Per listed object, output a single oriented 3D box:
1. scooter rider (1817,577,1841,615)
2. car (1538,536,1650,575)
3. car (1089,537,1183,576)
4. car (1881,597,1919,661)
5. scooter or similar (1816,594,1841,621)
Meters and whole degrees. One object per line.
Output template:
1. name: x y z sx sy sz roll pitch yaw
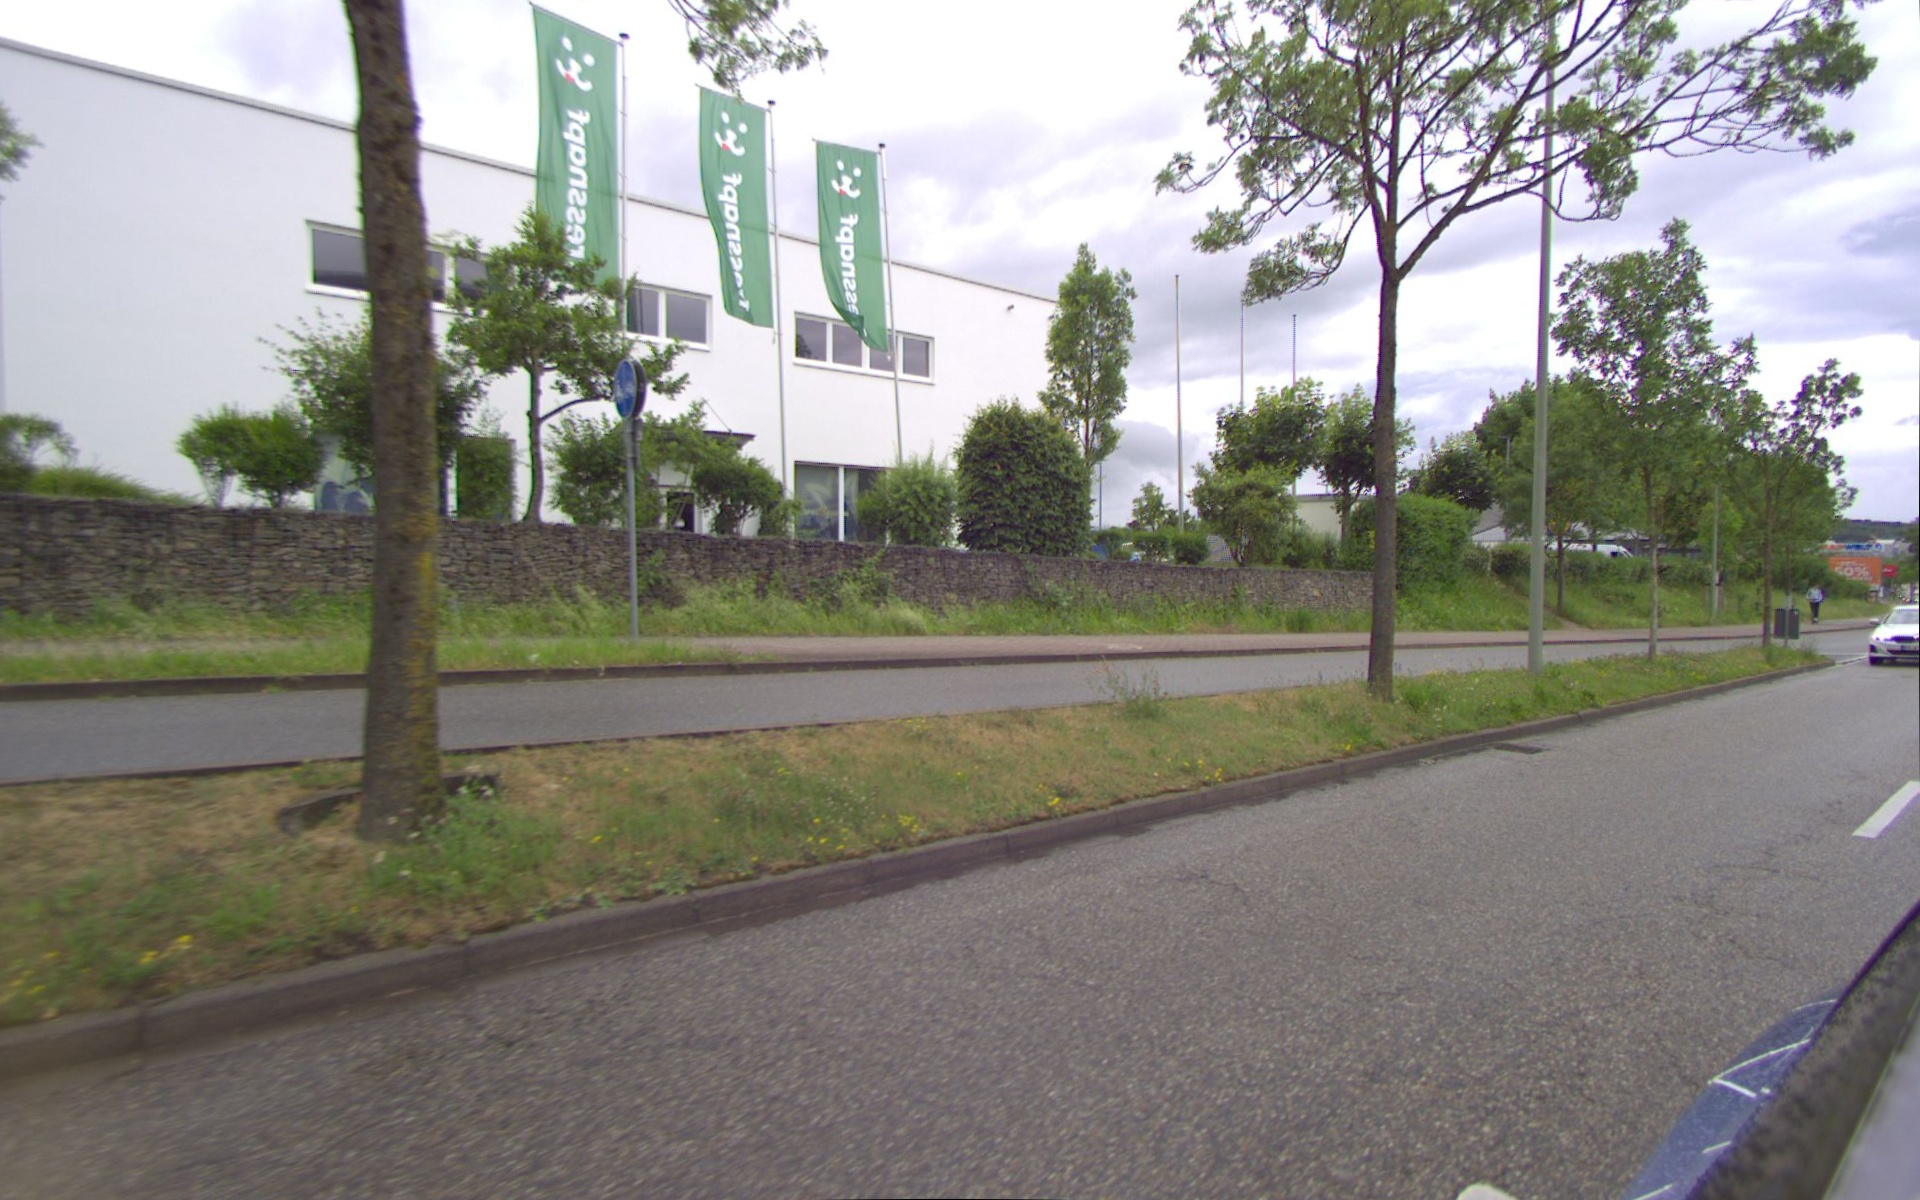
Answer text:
1. scooter rider: 43.332 -0.187 50.471 0.843 1.842 0.696 -1 4 -42
2. car: 39.985 -2.827 63.889 5.608 2.167 2.090 6 5 42
3. car: 8.137 -2.030 47.048 1.769 1.683 3.991 0 2 -44
4. car: 24.186 0.669 24.820 4.461 1.458 1.807 0 0 -40
5. scooter or similar: 43.341 0.378 50.513 1.377 1.279 0.696 -1 4 -42
